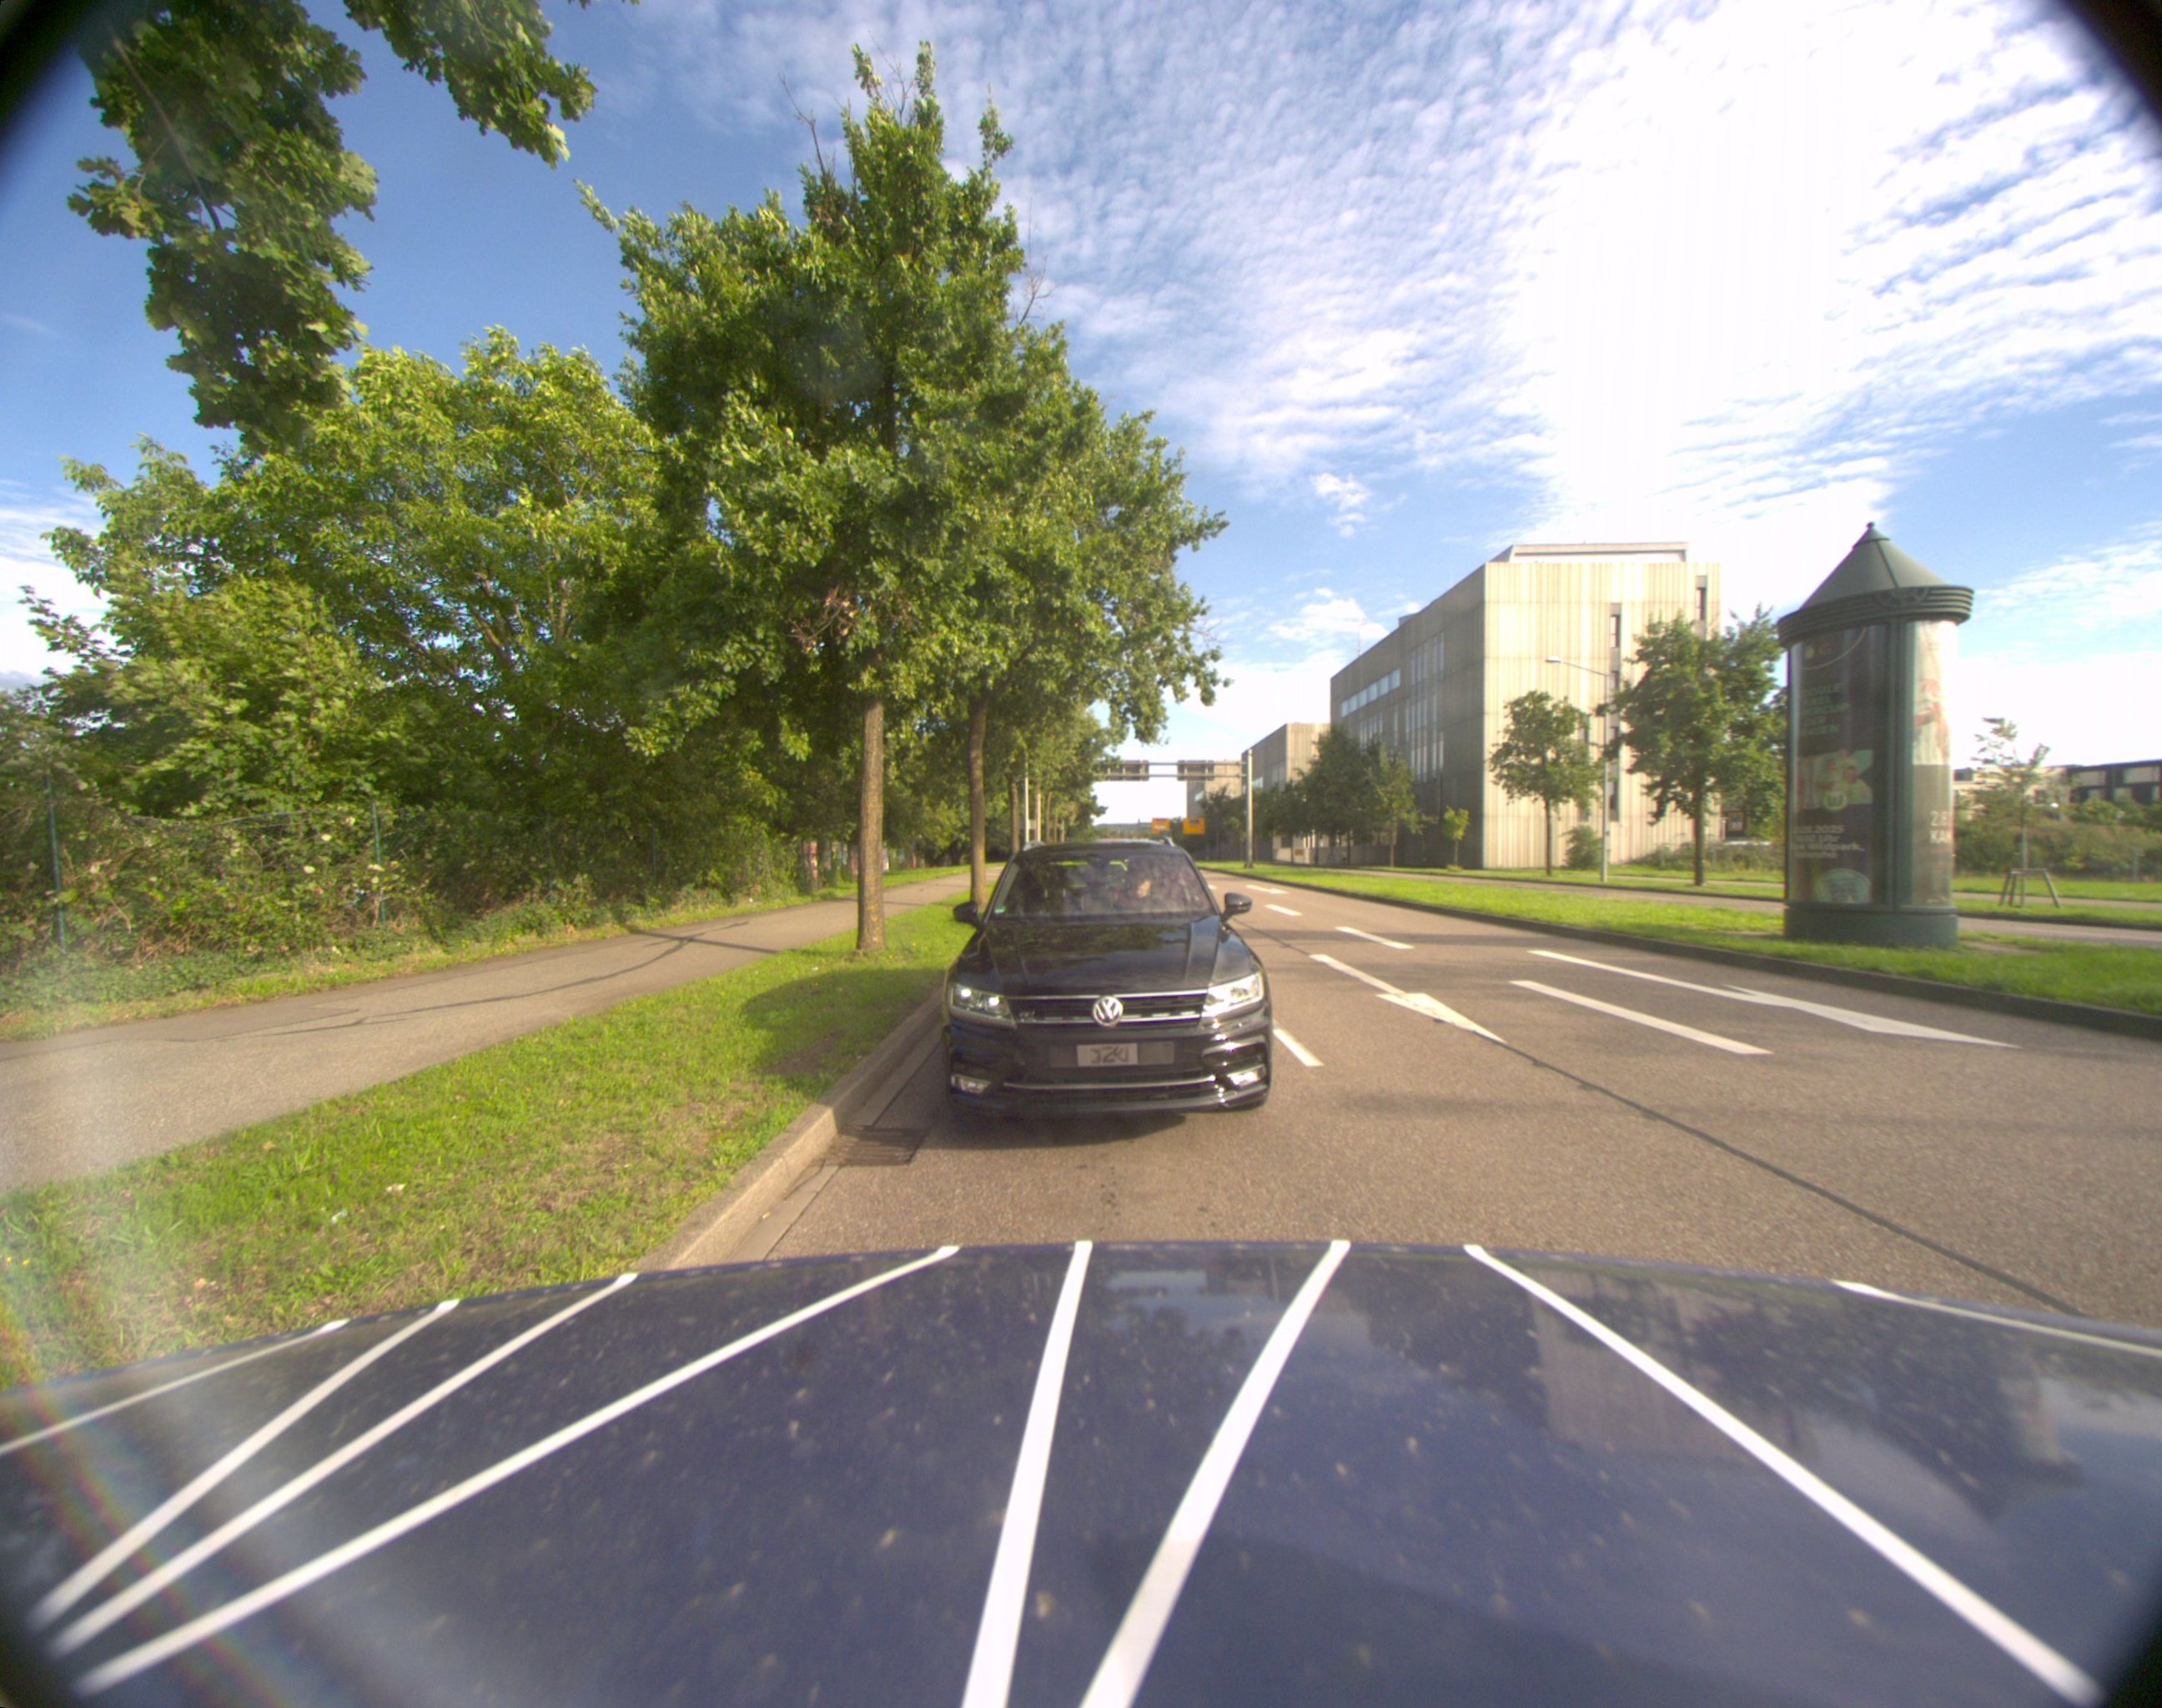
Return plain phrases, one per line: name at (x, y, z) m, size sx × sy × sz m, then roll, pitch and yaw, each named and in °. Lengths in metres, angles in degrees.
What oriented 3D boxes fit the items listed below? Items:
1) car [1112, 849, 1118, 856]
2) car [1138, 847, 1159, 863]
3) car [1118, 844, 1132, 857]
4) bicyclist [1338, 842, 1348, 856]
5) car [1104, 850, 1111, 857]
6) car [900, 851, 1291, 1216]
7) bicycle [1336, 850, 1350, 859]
car at (9.848, -0.572, 220.099) m, size 1.798 × 2.002 × 4.000 m, roll 0°, pitch 0°, yaw 0°
car at (6.241, 0.056, 70.326) m, size 1.745 × 1.455 × 4.000 m, roll -1°, pitch 1°, yaw 3°
car at (6.028, -0.451, 105.160) m, size 1.758 × 1.696 × 4.000 m, roll -1°, pitch 0°, yaw 0°
bicyclist at (29.056, -0.572, 84.195) m, size 0.707 × 1.517 × 0.989 m, roll 0°, pitch 1°, yaw 1°
car at (7.313, -0.068, 209.682) m, size 1.998 × 2.002 × 4.000 m, roll 0°, pitch 0°, yaw 0°
car at (0.122, 0.839, 5.481) m, size 1.775 × 1.637 × 3.868 m, roll -2°, pitch 1°, yaw 2°
bicycle at (29.052, 0.085, 84.179) m, size 0.897 × 0.975 × 1.911 m, roll 0°, pitch 0°, yaw 1°
